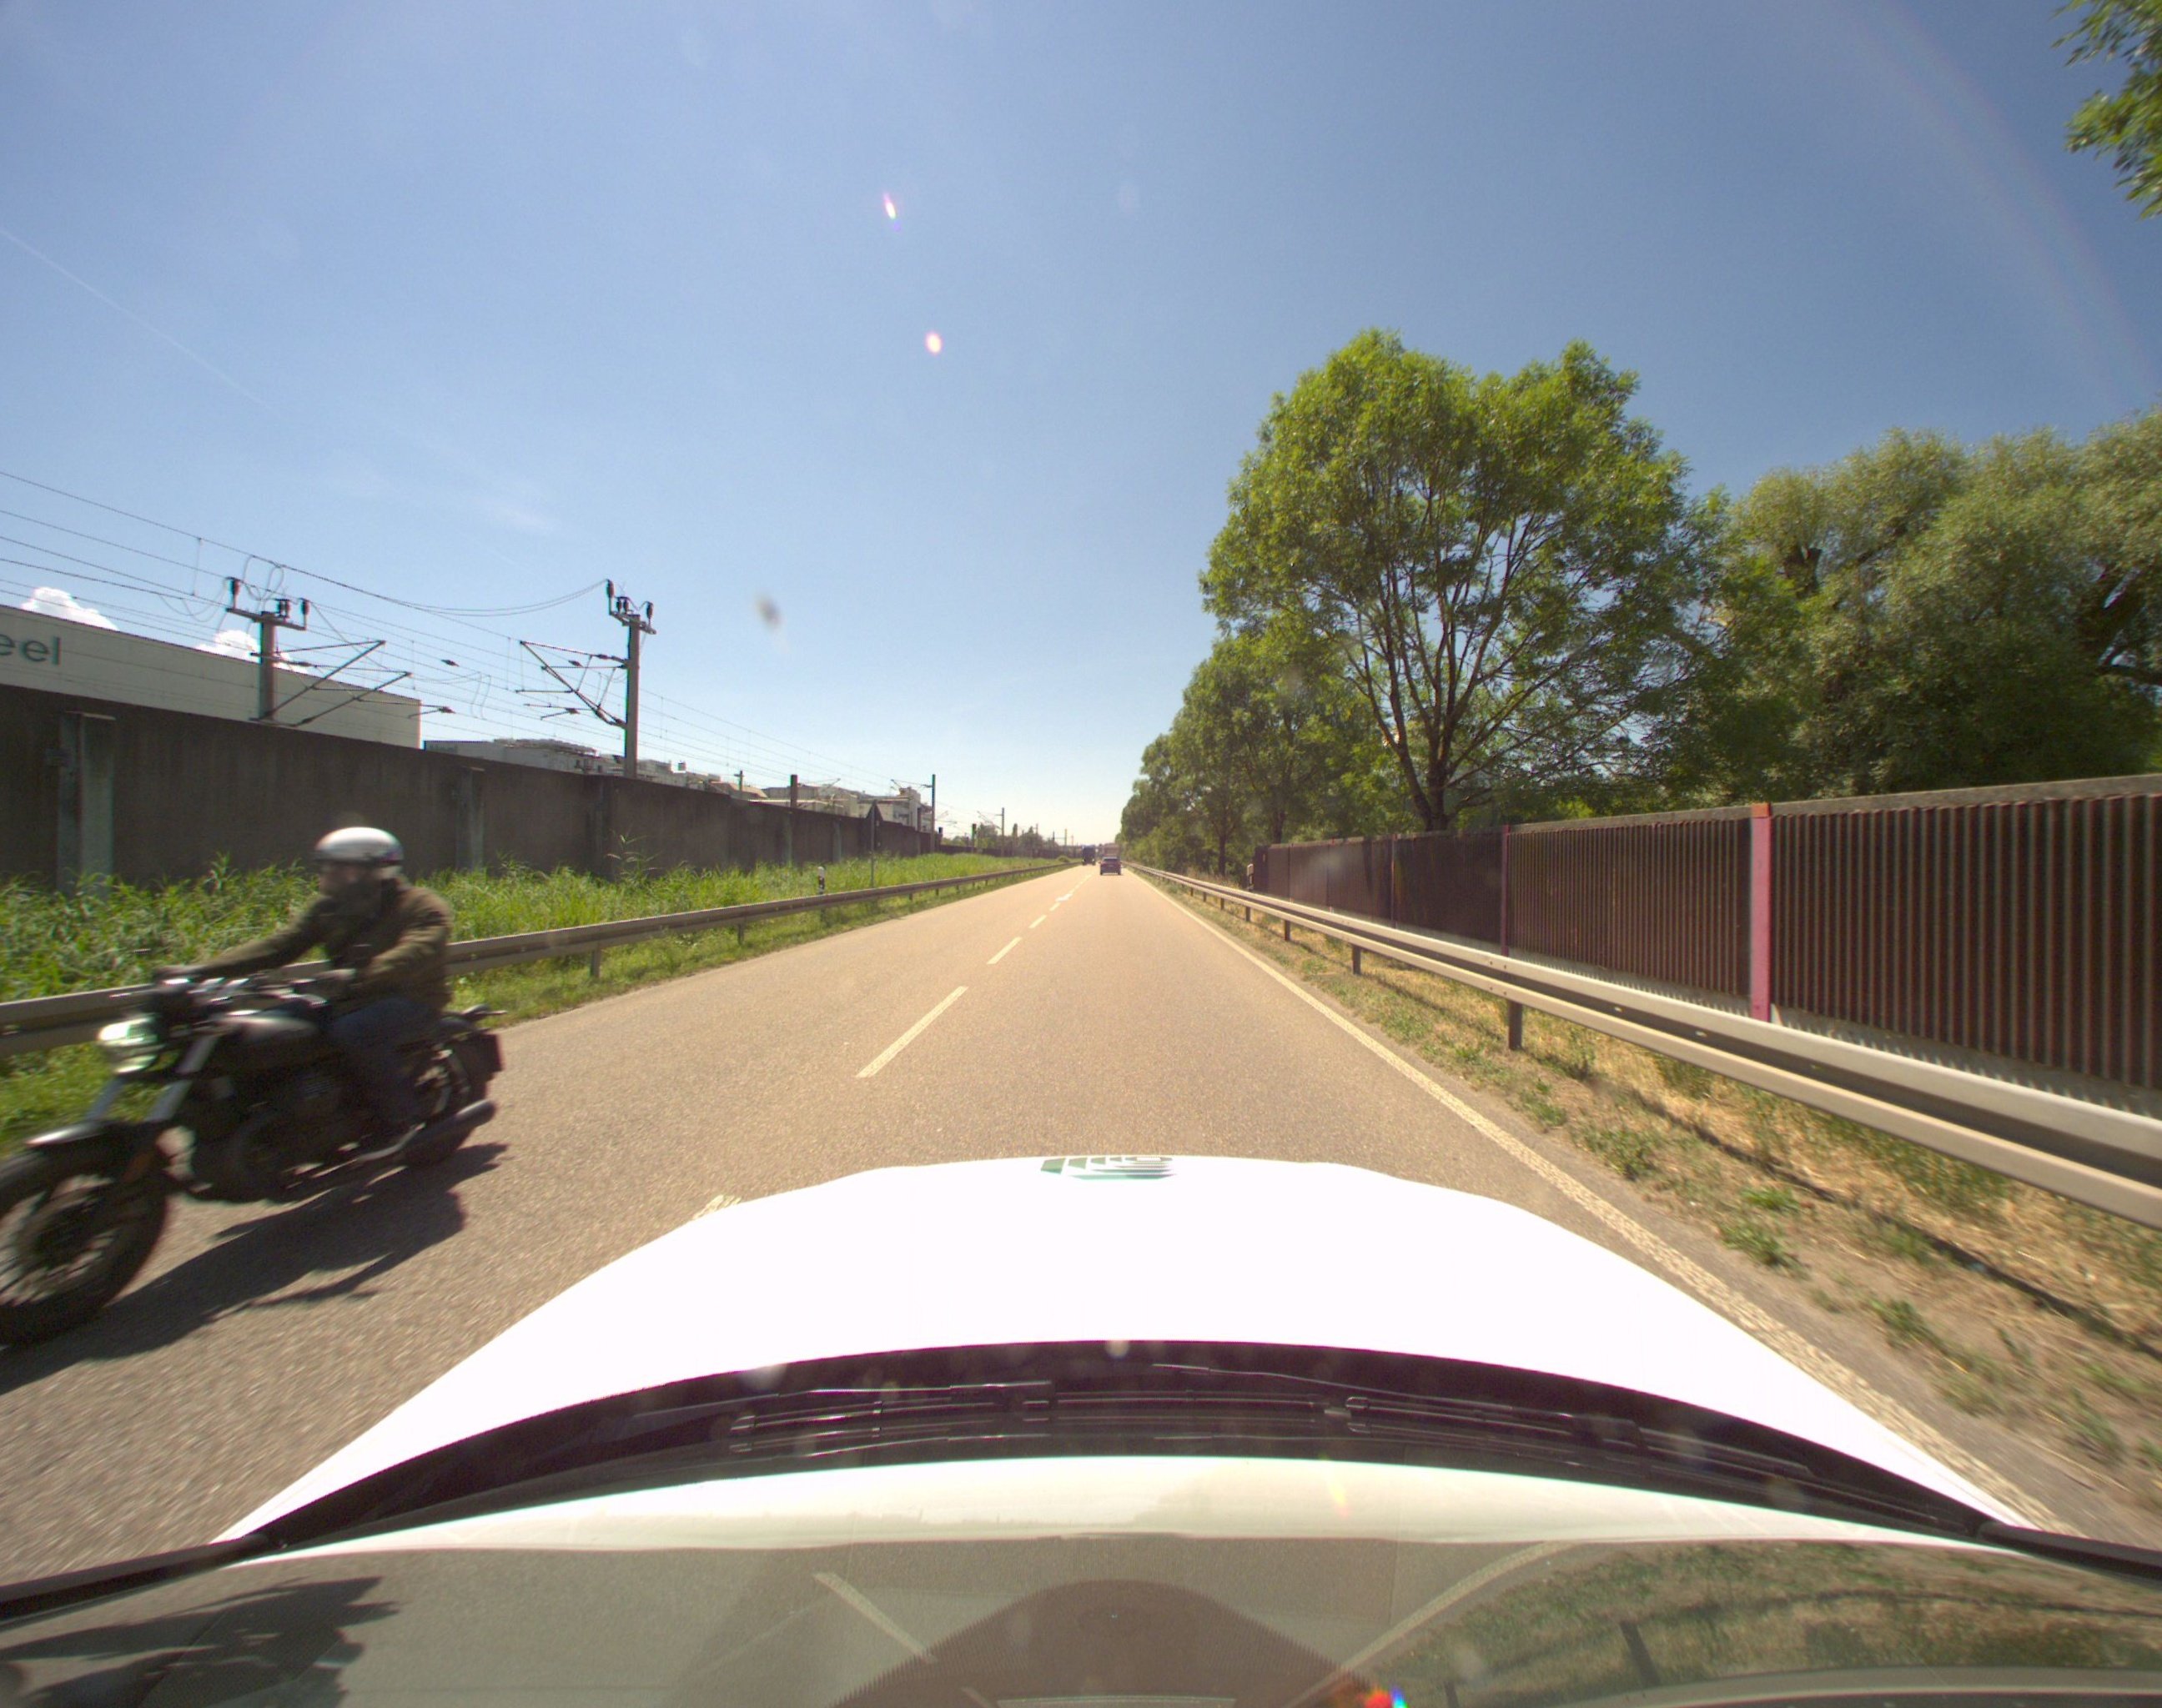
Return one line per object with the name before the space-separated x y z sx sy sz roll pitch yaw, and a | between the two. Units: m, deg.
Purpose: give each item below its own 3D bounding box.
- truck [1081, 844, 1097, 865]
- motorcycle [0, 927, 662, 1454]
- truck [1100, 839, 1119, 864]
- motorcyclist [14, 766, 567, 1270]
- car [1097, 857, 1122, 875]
truck | 1.645 0.043 158.737 2.786 3.978 10.505 0 0 2
motorcycle | -3.332 1.007 3.624 1.232 1.072 3.130 -1 0 1
truck | 4.238 -0.295 120.754 2.759 3.425 10.824 0 0 2
motorcyclist | -3.347 0.613 3.663 1.249 1.864 1.246 -1 0 1
car | 2.469 1.021 71.319 1.987 1.508 3.999 -1 0 0
